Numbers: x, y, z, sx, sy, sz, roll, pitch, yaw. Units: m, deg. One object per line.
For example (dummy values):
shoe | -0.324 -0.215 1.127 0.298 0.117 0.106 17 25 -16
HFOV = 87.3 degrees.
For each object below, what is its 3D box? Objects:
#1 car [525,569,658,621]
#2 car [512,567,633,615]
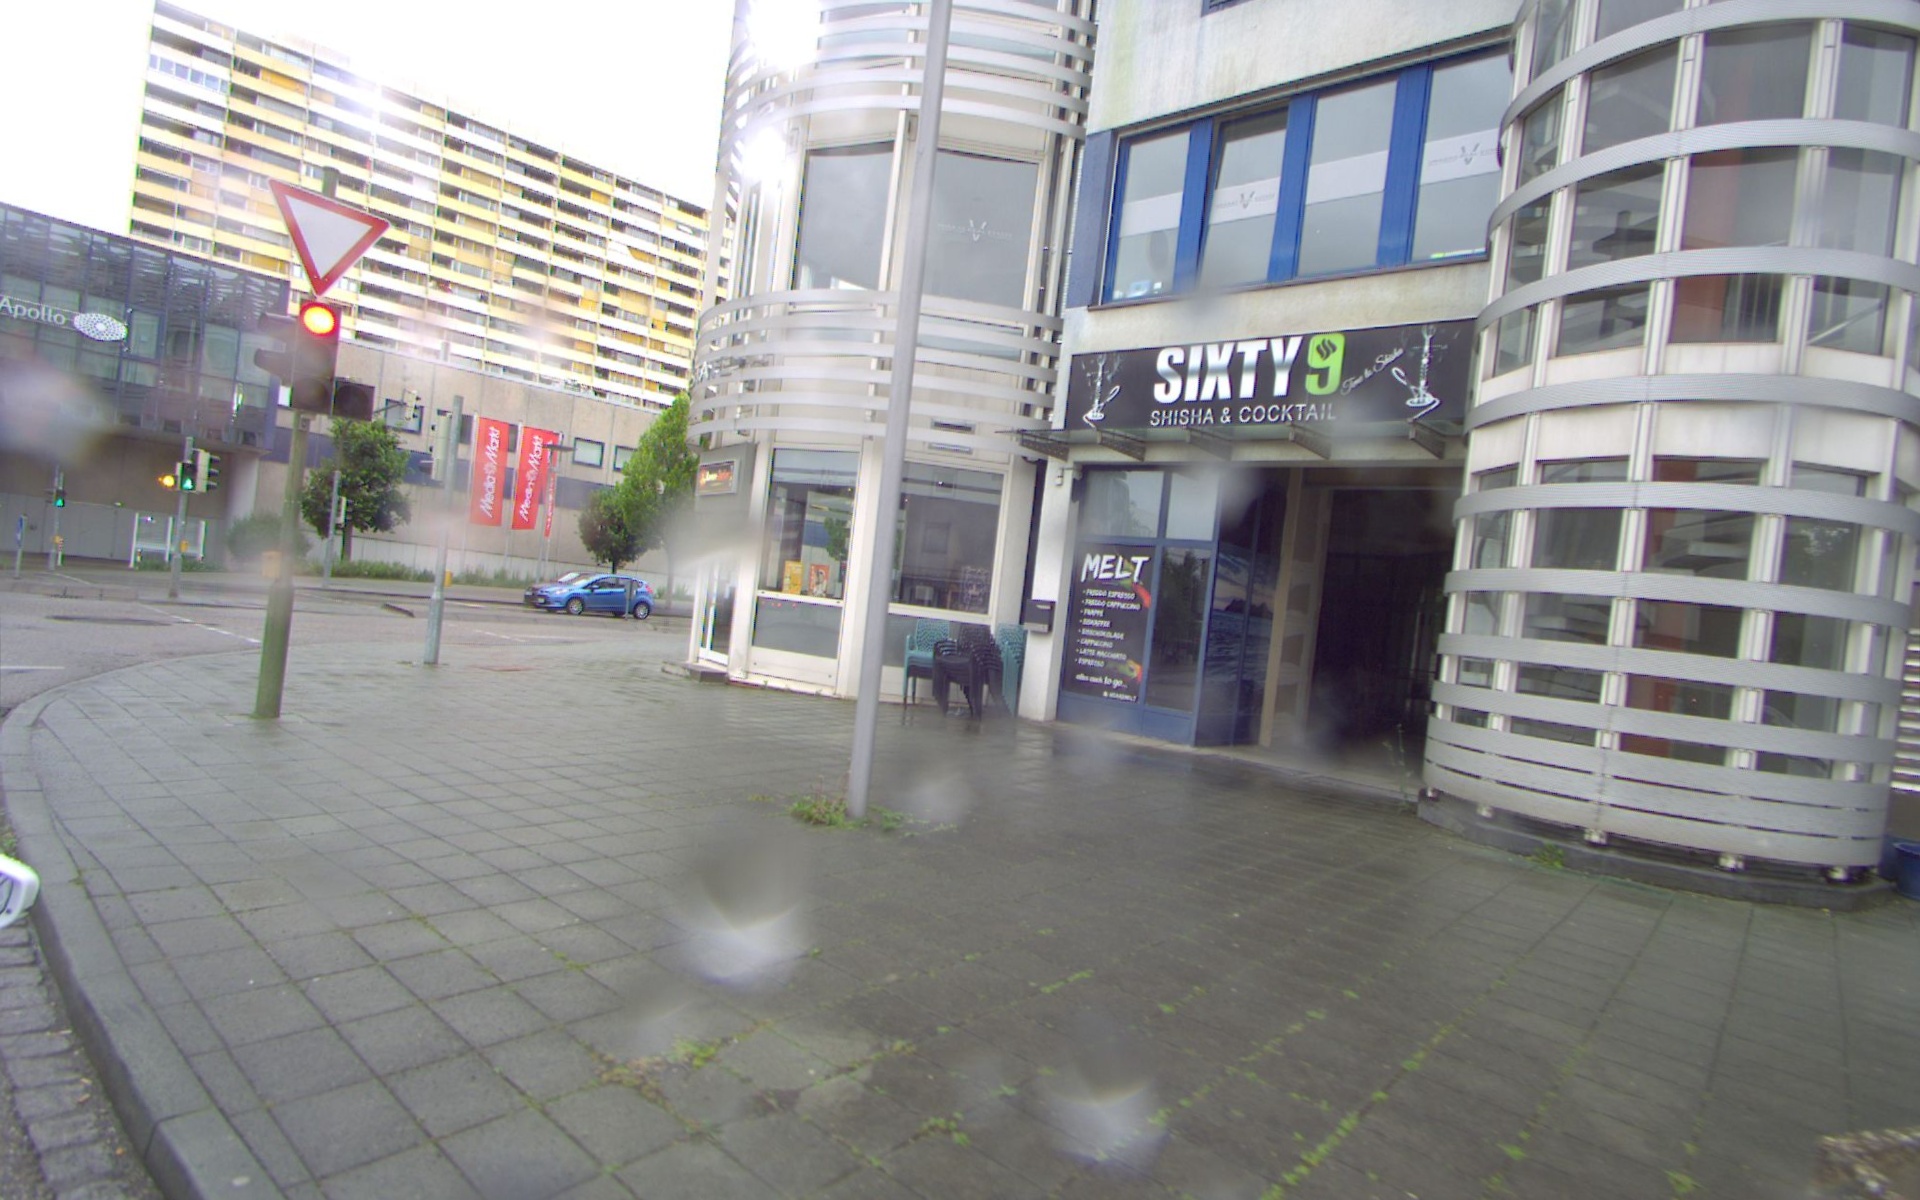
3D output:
car | -12.417 -0.148 34.074 1.656 1.415 3.836 5 0 41
car | -14.098 -0.309 36.700 1.721 1.412 3.677 5 0 42
